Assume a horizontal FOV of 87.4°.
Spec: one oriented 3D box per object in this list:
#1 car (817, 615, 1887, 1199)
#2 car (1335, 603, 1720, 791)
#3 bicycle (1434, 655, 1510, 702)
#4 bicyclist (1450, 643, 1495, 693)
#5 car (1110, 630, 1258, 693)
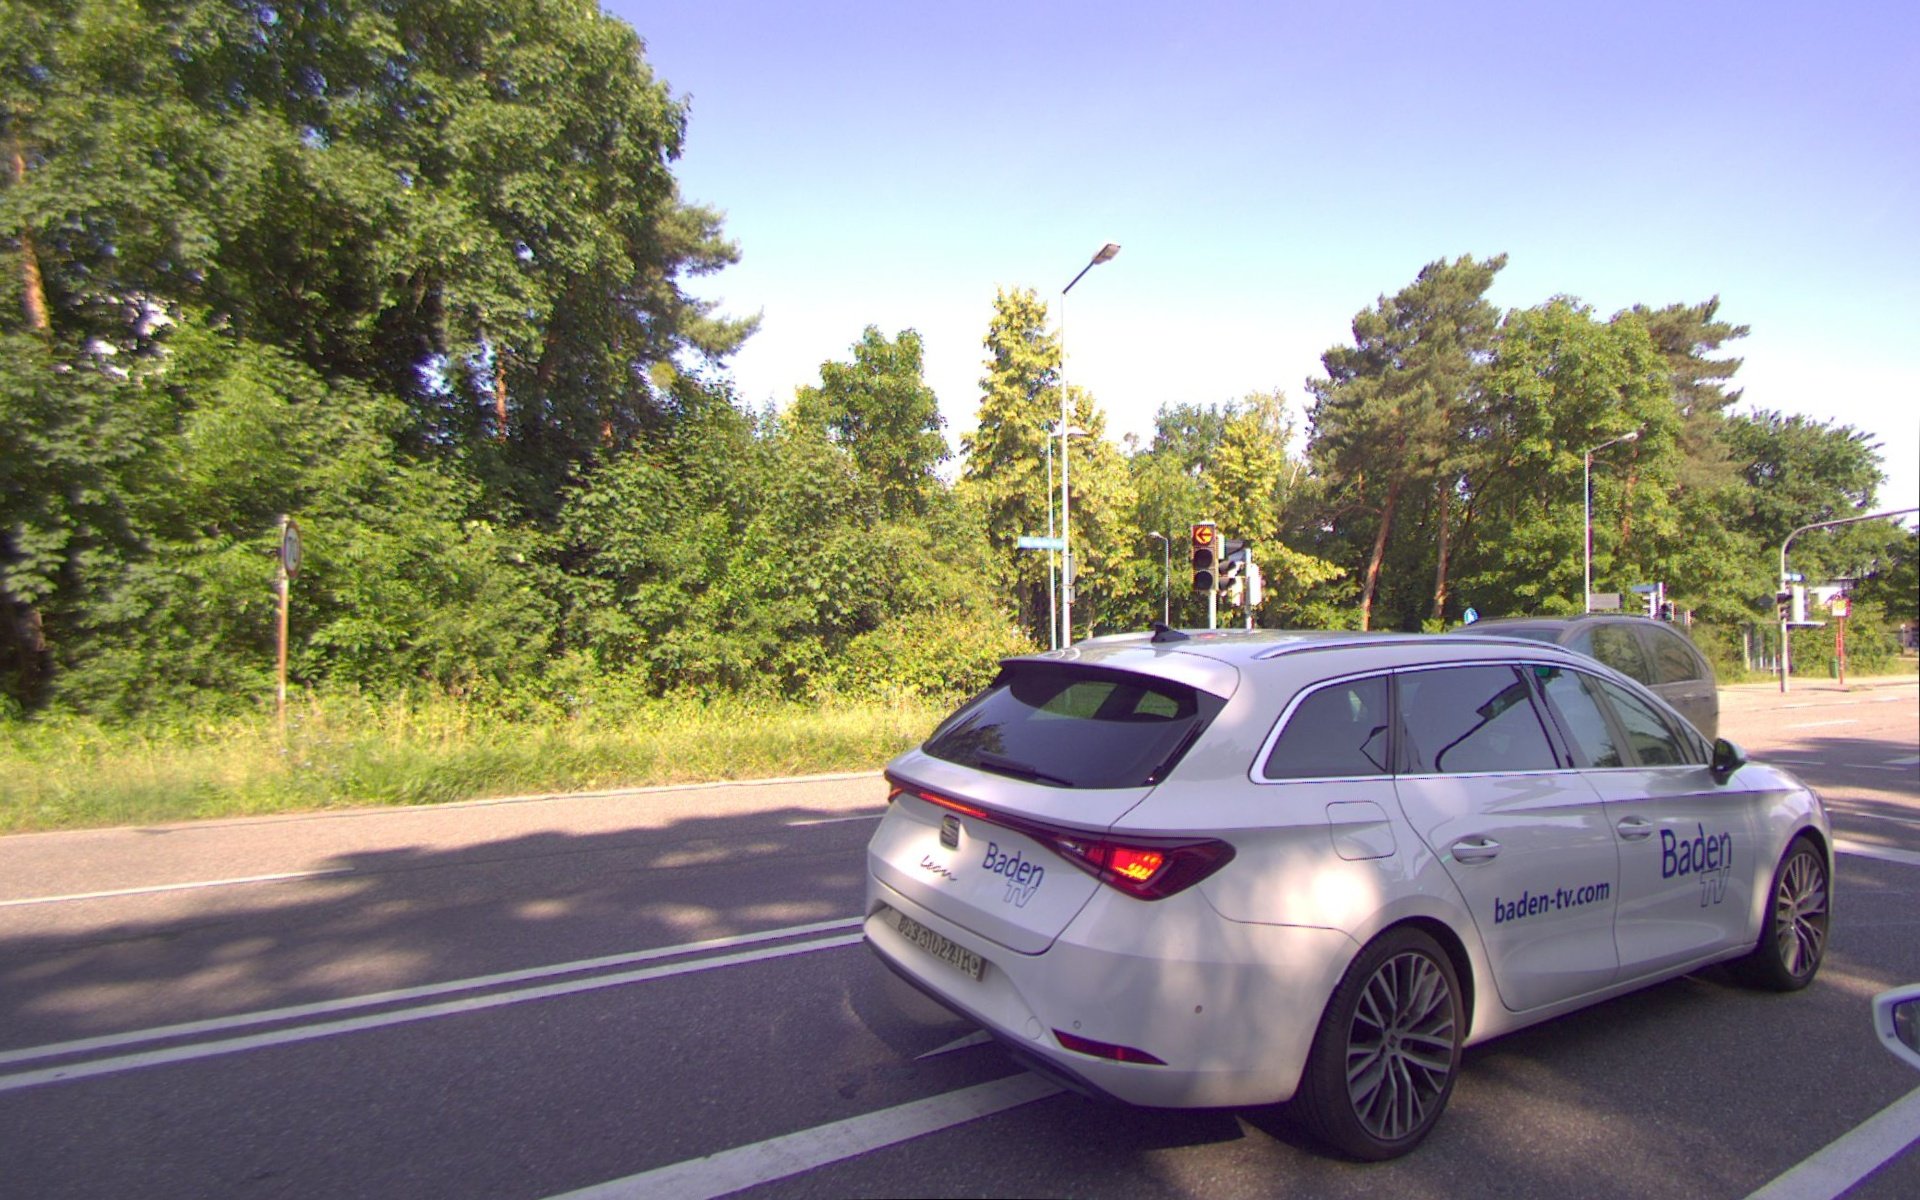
[{"bbox_3d":[1.790,0.812,4.099,4.371,1.443,1.775,1,0,-31],"label":"car"},{"bbox_3d":[6.338,0.999,11.110,4.341,1.719,1.783,2,-4,-31],"label":"car"},{"bbox_3d":[13.719,2.080,26.891,2.347,1.178,0.728,1,-2,-33],"label":"bicycle"},{"bbox_3d":[13.725,1.808,26.910,0.874,1.328,0.717,1,-2,-33],"label":"bicyclist"},{"bbox_3d":[6.817,1.900,31.059,1.831,1.801,4.626,2,-4,-30],"label":"car"}]
